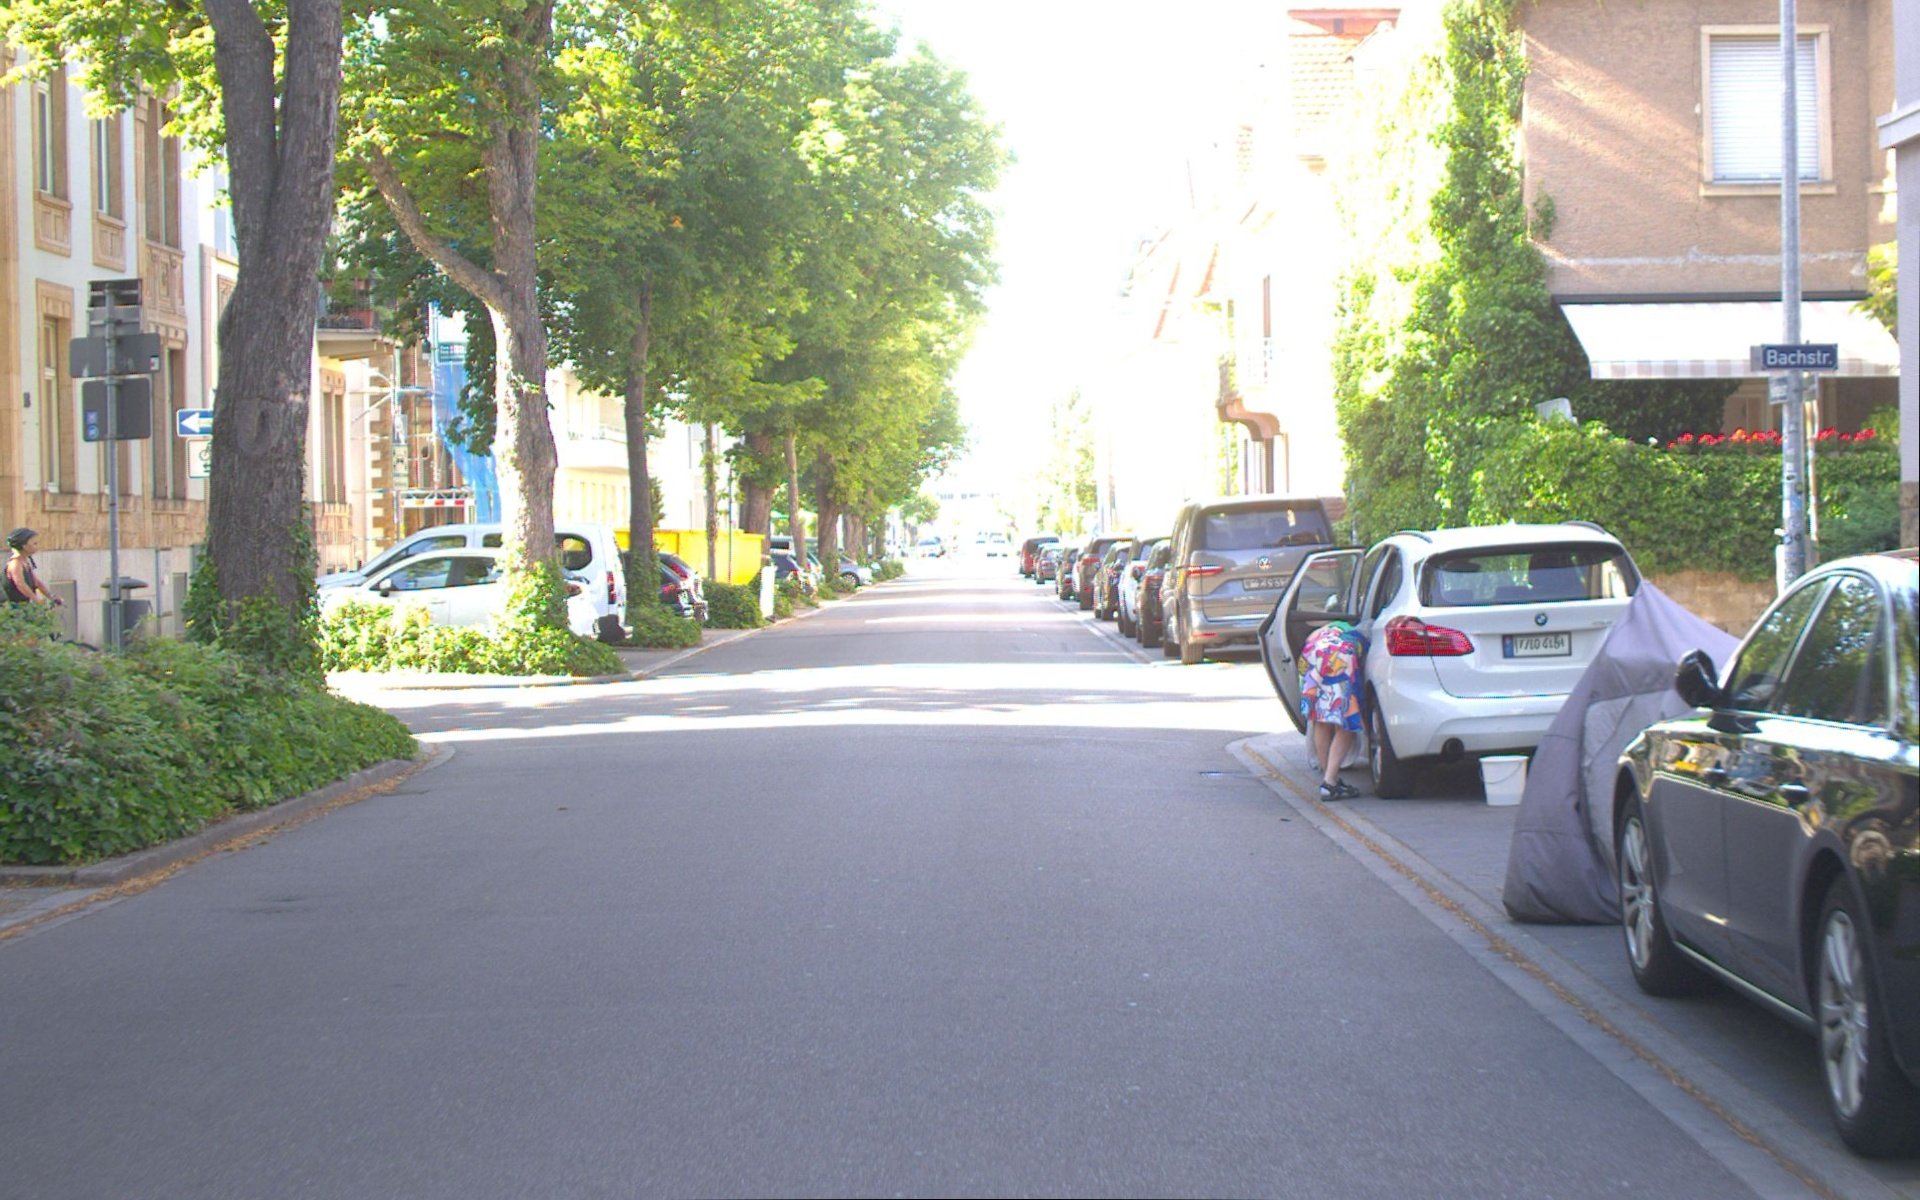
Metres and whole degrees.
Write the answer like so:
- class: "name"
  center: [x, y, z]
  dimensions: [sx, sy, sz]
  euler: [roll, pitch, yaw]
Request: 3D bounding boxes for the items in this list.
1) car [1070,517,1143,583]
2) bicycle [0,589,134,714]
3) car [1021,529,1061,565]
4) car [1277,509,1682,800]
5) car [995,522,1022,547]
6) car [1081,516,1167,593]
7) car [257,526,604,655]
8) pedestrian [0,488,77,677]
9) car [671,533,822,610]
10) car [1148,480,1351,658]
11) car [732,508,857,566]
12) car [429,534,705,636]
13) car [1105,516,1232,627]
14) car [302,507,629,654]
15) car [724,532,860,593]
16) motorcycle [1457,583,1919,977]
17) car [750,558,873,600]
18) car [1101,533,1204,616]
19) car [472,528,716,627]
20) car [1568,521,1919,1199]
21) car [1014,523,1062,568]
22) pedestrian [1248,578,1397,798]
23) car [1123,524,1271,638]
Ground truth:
- class: "car"
  center: [3.719, -1.288, 87.976]
  dimensions: [1.771, 1.625, 3.866]
  euler: [-1, 1, 1]
- class: "bicycle"
  center: [-8.703, 0.487, 31.559]
  dimensions: [1.991, 1.062, 0.760]
  euler: [-2, 2, 4]
- class: "car"
  center: [3.733, -2.452, 158.444]
  dimensions: [1.771, 1.625, 3.866]
  euler: [-1, 1, 1]
- class: "car"
  center: [3.099, 0.261, 21.302]
  dimensions: [1.699, 1.534, 4.156]
  euler: [-3, 1, -1]
- class: "car"
  center: [3.230, -4.399, 229.250]
  dimensions: [1.771, 1.625, 3.866]
  euler: [-1, 1, 1]
- class: "car"
  center: [3.584, -1.016, 75.506]
  dimensions: [1.771, 1.625, 3.866]
  euler: [-1, 1, 1]
- class: "car"
  center: [-6.390, -0.118, 41.790]
  dimensions: [3.986, 1.459, 1.798]
  euler: [1, 0, -3]
- class: "pedestrian"
  center: [-8.560, -0.165, 31.533]
  dimensions: [0.631, 1.689, 0.652]
  euler: [-2, 2, 4]
- class: "car"
  center: [-5.885, -0.791, 94.654]
  dimensions: [3.986, 2.007, 2.000]
  euler: [-1, 1, -7]
- class: "car"
  center: [3.355, -0.404, 40.689]
  dimensions: [1.904, 1.864, 4.674]
  euler: [-4, 1, 0]
- class: "car"
  center: [-5.537, -2.117, 115.354]
  dimensions: [4.006, 1.834, 2.000]
  euler: [1, 2, 3]
- class: "car"
  center: [-6.053, -0.239, 53.277]
  dimensions: [3.987, 1.464, 1.864]
  euler: [-1, 2, 2]
- class: "car"
  center: [3.181, -0.470, 53.074]
  dimensions: [1.789, 1.612, 3.866]
  euler: [-1, 1, 1]
- class: "car"
  center: [-6.302, -0.254, 44.124]
  dimensions: [3.986, 1.755, 1.798]
  euler: [1, 1, -3]
- class: "car"
  center: [-5.160, -1.162, 106.074]
  dimensions: [4.006, 1.729, 1.894]
  euler: [1, 2, 3]
- class: "motorcycle"
  center: [3.118, 0.648, 13.226]
  dimensions: [2.198, 1.334, 0.919]
  euler: [3, 3, 39]
- class: "car"
  center: [-5.235, -0.742, 121.399]
  dimensions: [3.991, 1.404, 1.700]
  euler: [0, 1, 20]
- class: "car"
  center: [3.568, -0.504, 64.245]
  dimensions: [1.771, 1.450, 3.866]
  euler: [-1, 1, 1]
- class: "car"
  center: [-6.166, -0.400, 57.849]
  dimensions: [3.986, 1.546, 1.838]
  euler: [-1, 2, -7]
- class: "car"
  center: [2.994, 0.536, 9.434]
  dimensions: [1.854, 1.488, 4.608]
  euler: [-3, 1, 1]
- class: "car"
  center: [2.963, -2.081, 129.922]
  dimensions: [1.771, 1.625, 3.866]
  euler: [-1, 1, 1]
- class: "pedestrian"
  center: [2.150, 0.513, 20.464]
  dimensions: [0.723, 1.253, 0.646]
  euler: [-2, 1, -7]
- class: "car"
  center: [3.224, -0.290, 47.356]
  dimensions: [1.690, 1.394, 3.806]
  euler: [-4, 1, 0]
